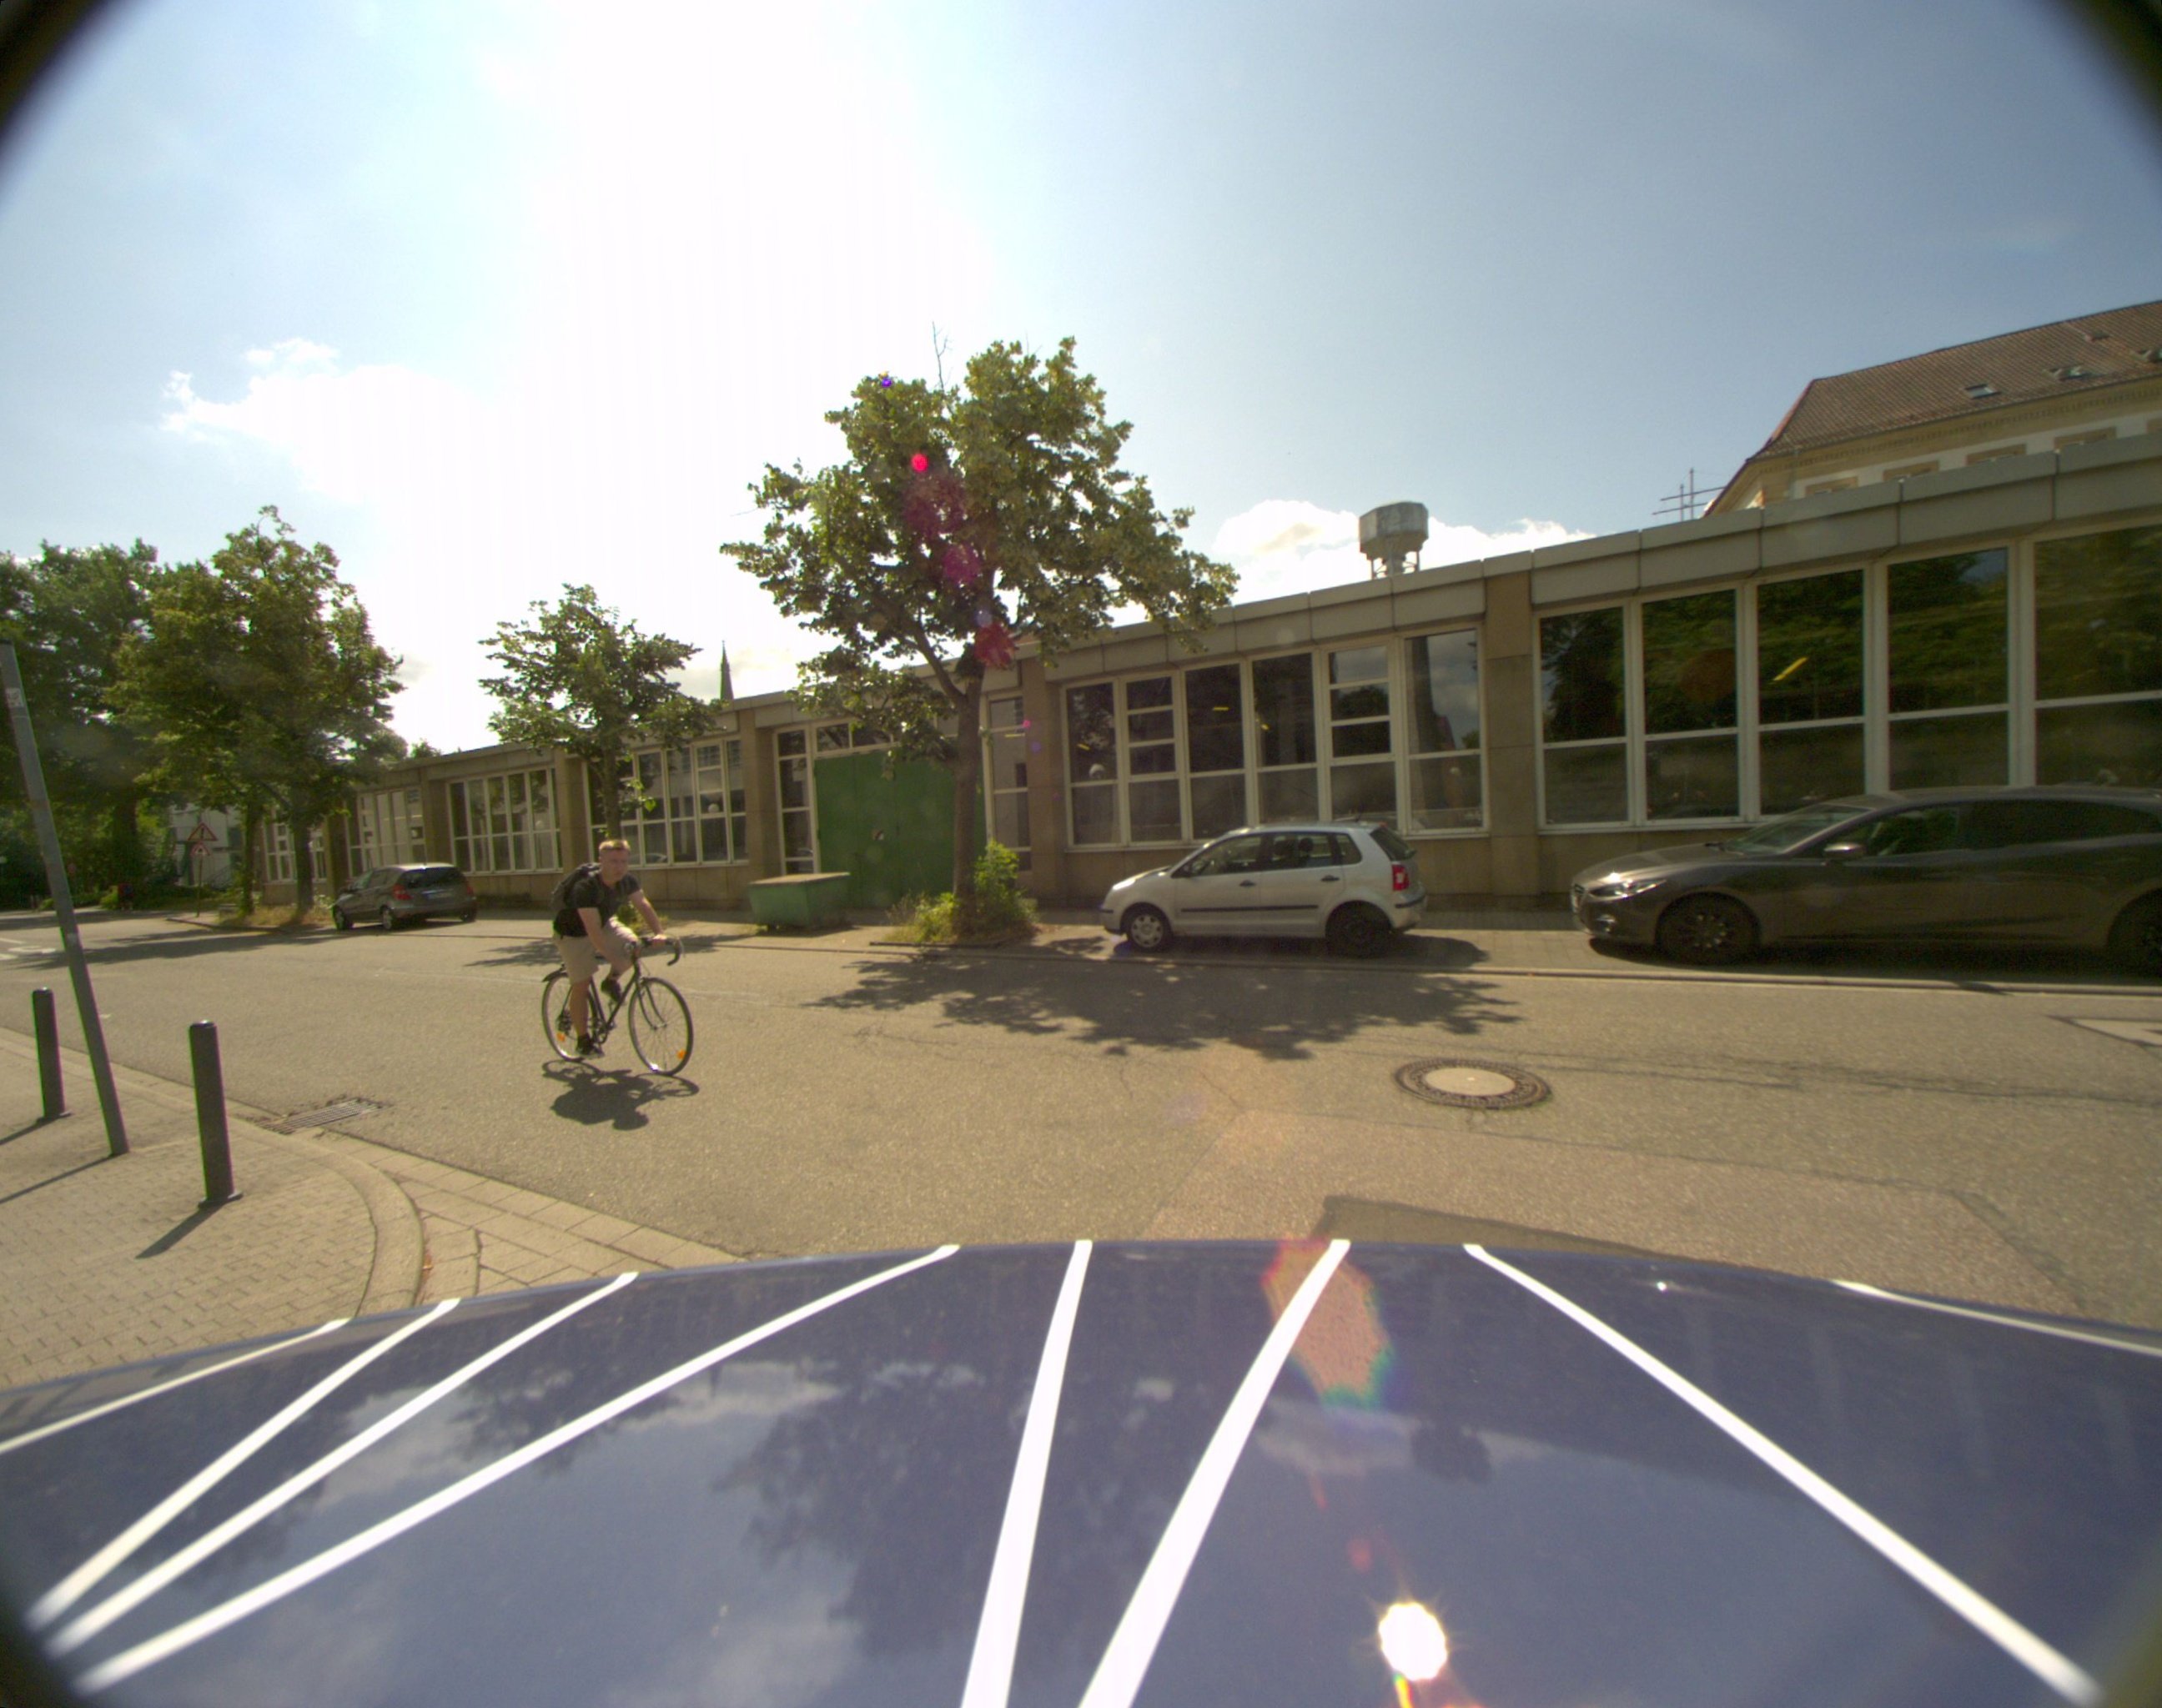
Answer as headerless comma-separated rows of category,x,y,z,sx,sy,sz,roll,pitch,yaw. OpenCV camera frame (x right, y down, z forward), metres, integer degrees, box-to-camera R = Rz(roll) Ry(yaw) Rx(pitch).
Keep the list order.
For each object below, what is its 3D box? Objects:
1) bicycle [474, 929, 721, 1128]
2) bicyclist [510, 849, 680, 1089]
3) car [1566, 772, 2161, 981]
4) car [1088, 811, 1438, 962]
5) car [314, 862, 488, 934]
bicycle,-3.466,1.154,5.413,1.825,1.102,0.605,-1,5,30
bicyclist,-3.401,0.759,5.344,0.726,1.527,0.605,-1,5,30
car,6.918,0.172,6.782,4.201,1.468,1.655,-2,4,28
car,2.182,0.334,9.196,3.769,1.468,1.655,-2,4,28
car,-17.561,1.098,19.621,4.124,1.569,1.854,-2,3,27
